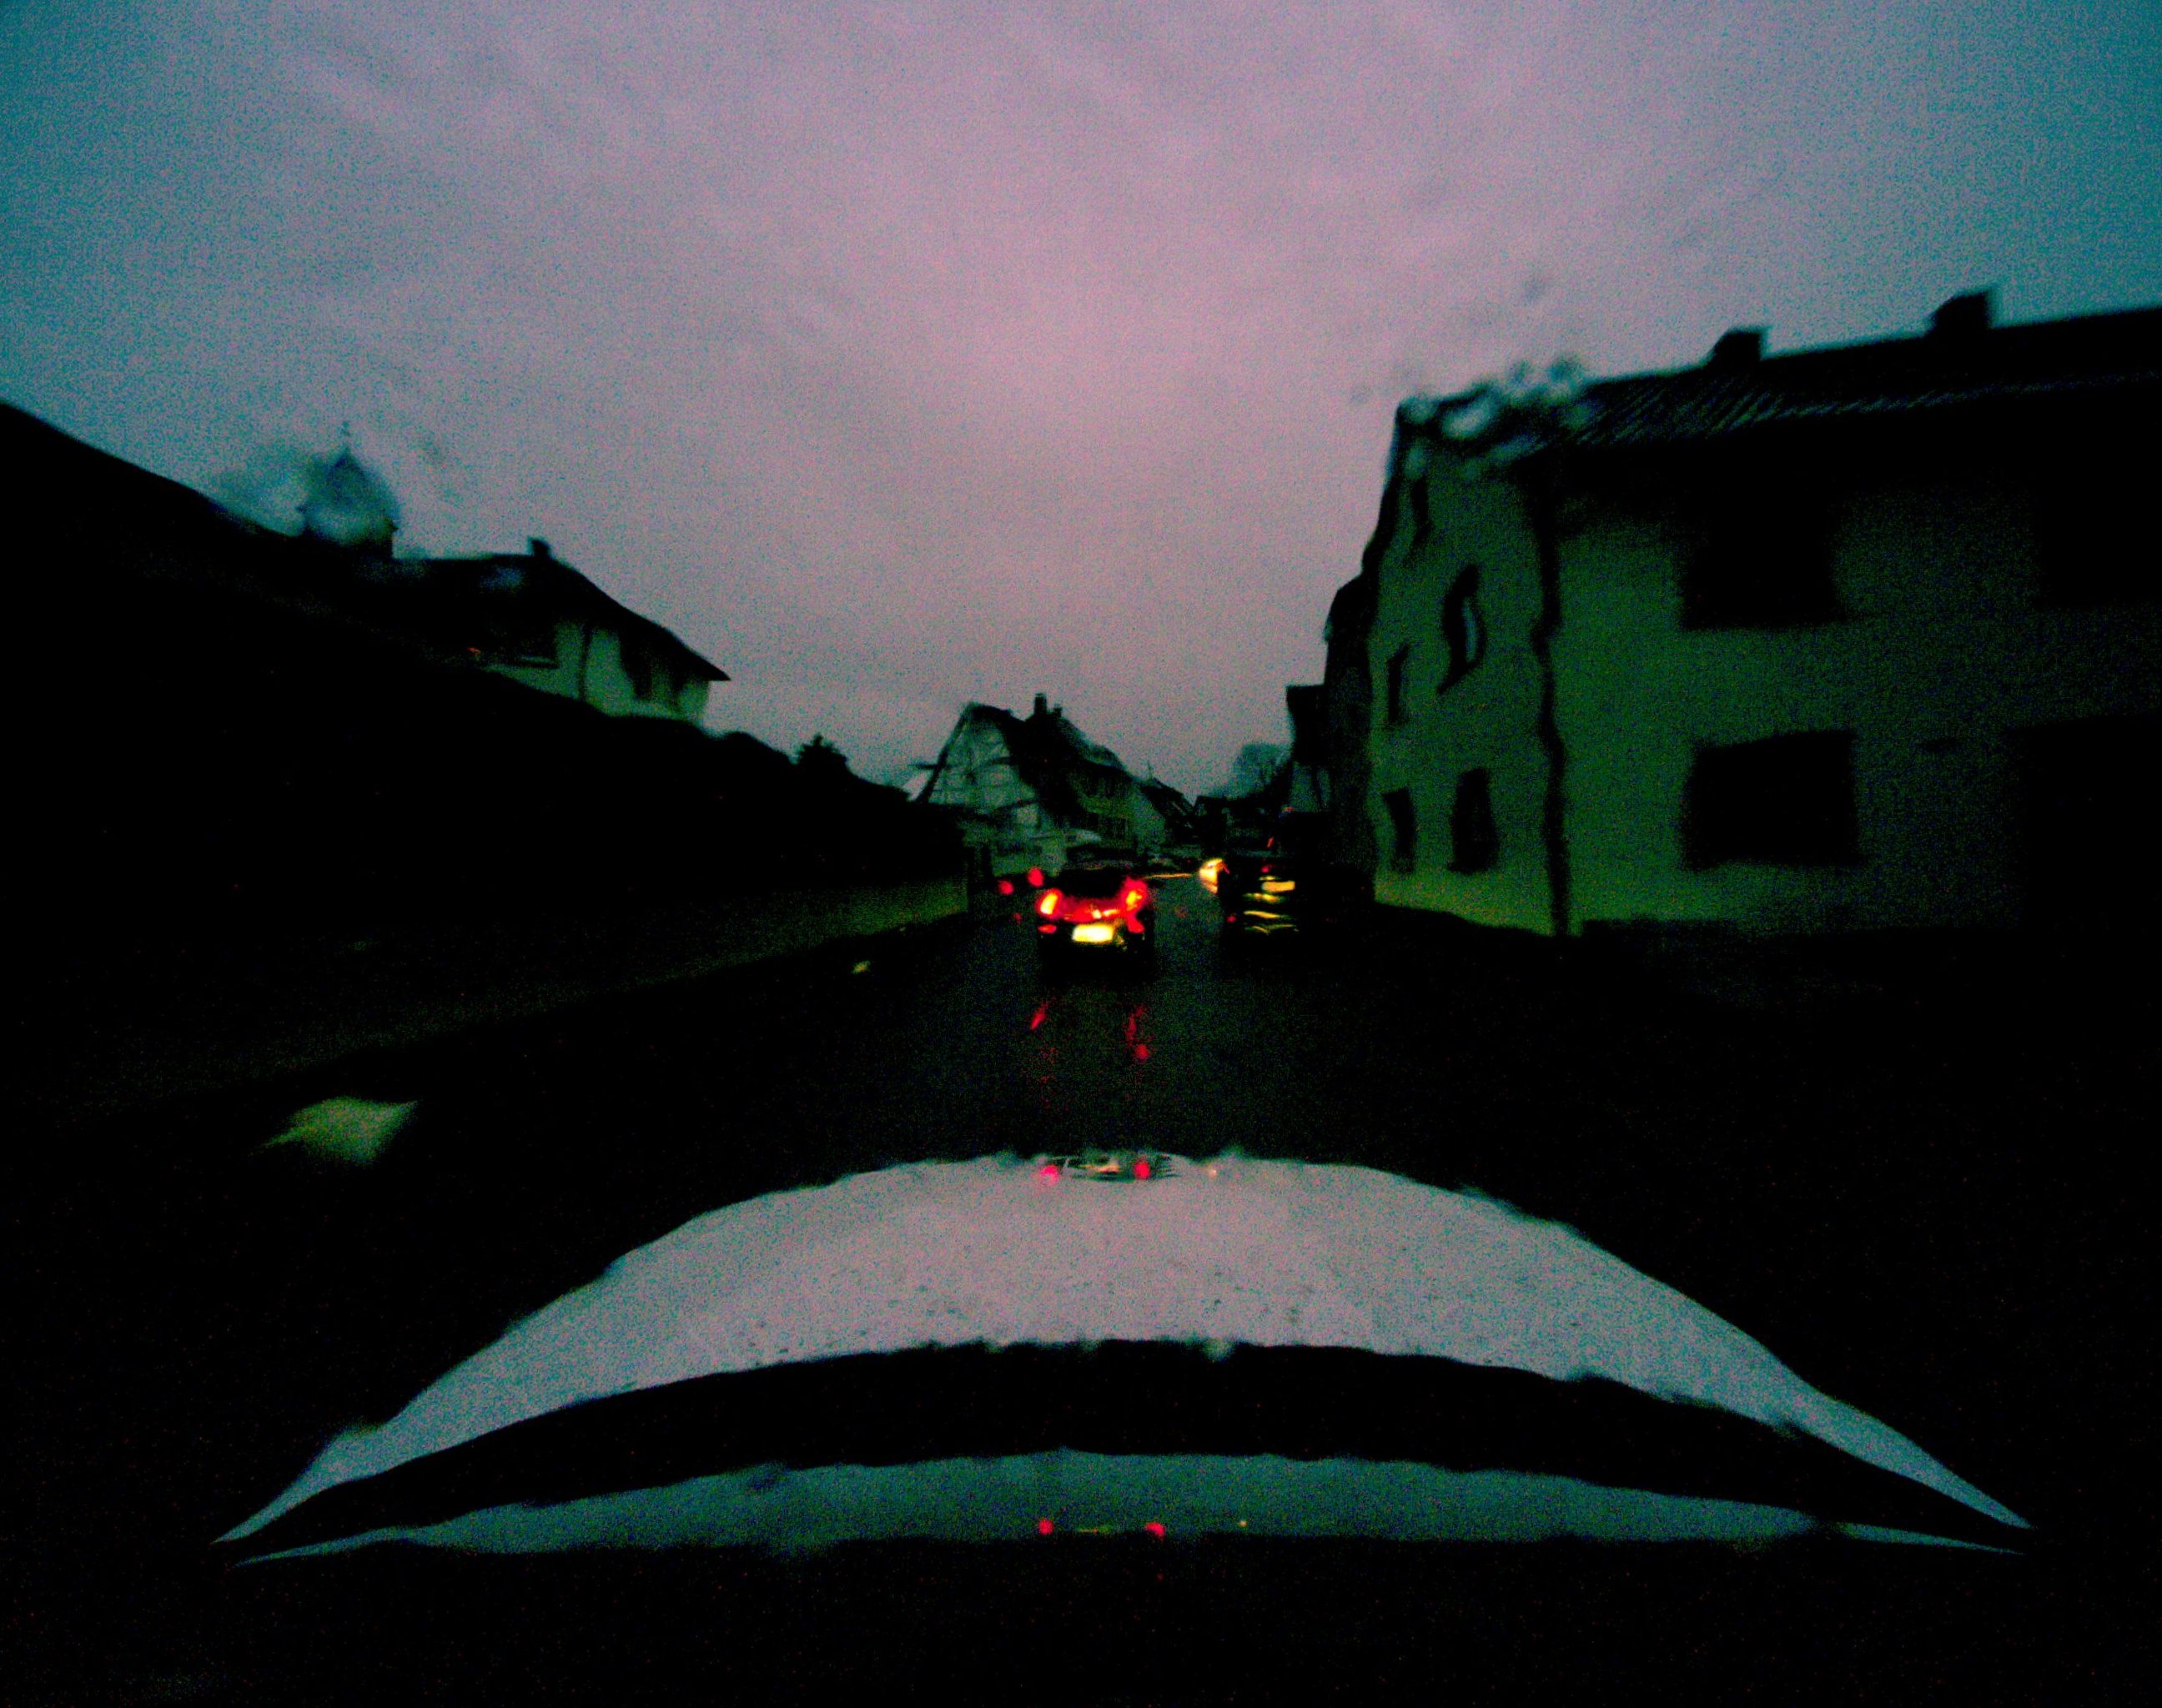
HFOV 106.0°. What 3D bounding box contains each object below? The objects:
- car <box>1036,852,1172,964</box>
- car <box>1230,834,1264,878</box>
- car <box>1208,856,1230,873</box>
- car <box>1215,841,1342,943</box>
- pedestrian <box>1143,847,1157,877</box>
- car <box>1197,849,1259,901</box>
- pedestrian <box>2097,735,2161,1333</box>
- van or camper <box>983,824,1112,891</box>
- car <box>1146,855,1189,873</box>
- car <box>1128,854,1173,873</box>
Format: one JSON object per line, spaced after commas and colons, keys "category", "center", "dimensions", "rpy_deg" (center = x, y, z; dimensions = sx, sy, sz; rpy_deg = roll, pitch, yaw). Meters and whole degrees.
{"category": "car", "center": [0.372, 0.709, 12.697], "dimensions": [1.788, 1.476, 4.002], "rpy_deg": [0, 0, 2]}
{"category": "car", "center": [9.615, 0.115, 47.162], "dimensions": [1.802, 2.413, 3.764], "rpy_deg": [-1, 0, 12]}
{"category": "car", "center": [12.061, 0.877, 71.011], "dimensions": [1.857, 1.402, 4.378], "rpy_deg": [-1, 0, 10]}
{"category": "car", "center": [3.518, 0.616, 15.270], "dimensions": [1.838, 1.637, 4.344], "rpy_deg": [0, 0, 7]}
{"category": "pedestrian", "center": [4.717, 0.549, 55.588], "dimensions": [0.868, 2.014, 0.797], "rpy_deg": [-1, 0, 10]}
{"category": "car", "center": [4.774, 0.631, 26.271], "dimensions": [1.786, 1.534, 4.013], "rpy_deg": [-1, 0, 11]}
{"category": "pedestrian", "center": [3.333, 0.484, 1.786], "dimensions": [0.862, 1.667, 0.994], "rpy_deg": [-4, 0, 8]}
{"category": "van or camper", "center": [-1.726, 0.185, 42.289], "dimensions": [6.015, 2.955, 2.416], "rpy_deg": [-4, -1, 15]}
{"category": "car", "center": [7.502, 0.861, 70.496], "dimensions": [3.484, 1.507, 1.698], "rpy_deg": [-1, 0, 11]}
{"category": "car", "center": [5.815, 0.762, 68.225], "dimensions": [3.480, 1.507, 1.700], "rpy_deg": [-1, 0, 17]}
